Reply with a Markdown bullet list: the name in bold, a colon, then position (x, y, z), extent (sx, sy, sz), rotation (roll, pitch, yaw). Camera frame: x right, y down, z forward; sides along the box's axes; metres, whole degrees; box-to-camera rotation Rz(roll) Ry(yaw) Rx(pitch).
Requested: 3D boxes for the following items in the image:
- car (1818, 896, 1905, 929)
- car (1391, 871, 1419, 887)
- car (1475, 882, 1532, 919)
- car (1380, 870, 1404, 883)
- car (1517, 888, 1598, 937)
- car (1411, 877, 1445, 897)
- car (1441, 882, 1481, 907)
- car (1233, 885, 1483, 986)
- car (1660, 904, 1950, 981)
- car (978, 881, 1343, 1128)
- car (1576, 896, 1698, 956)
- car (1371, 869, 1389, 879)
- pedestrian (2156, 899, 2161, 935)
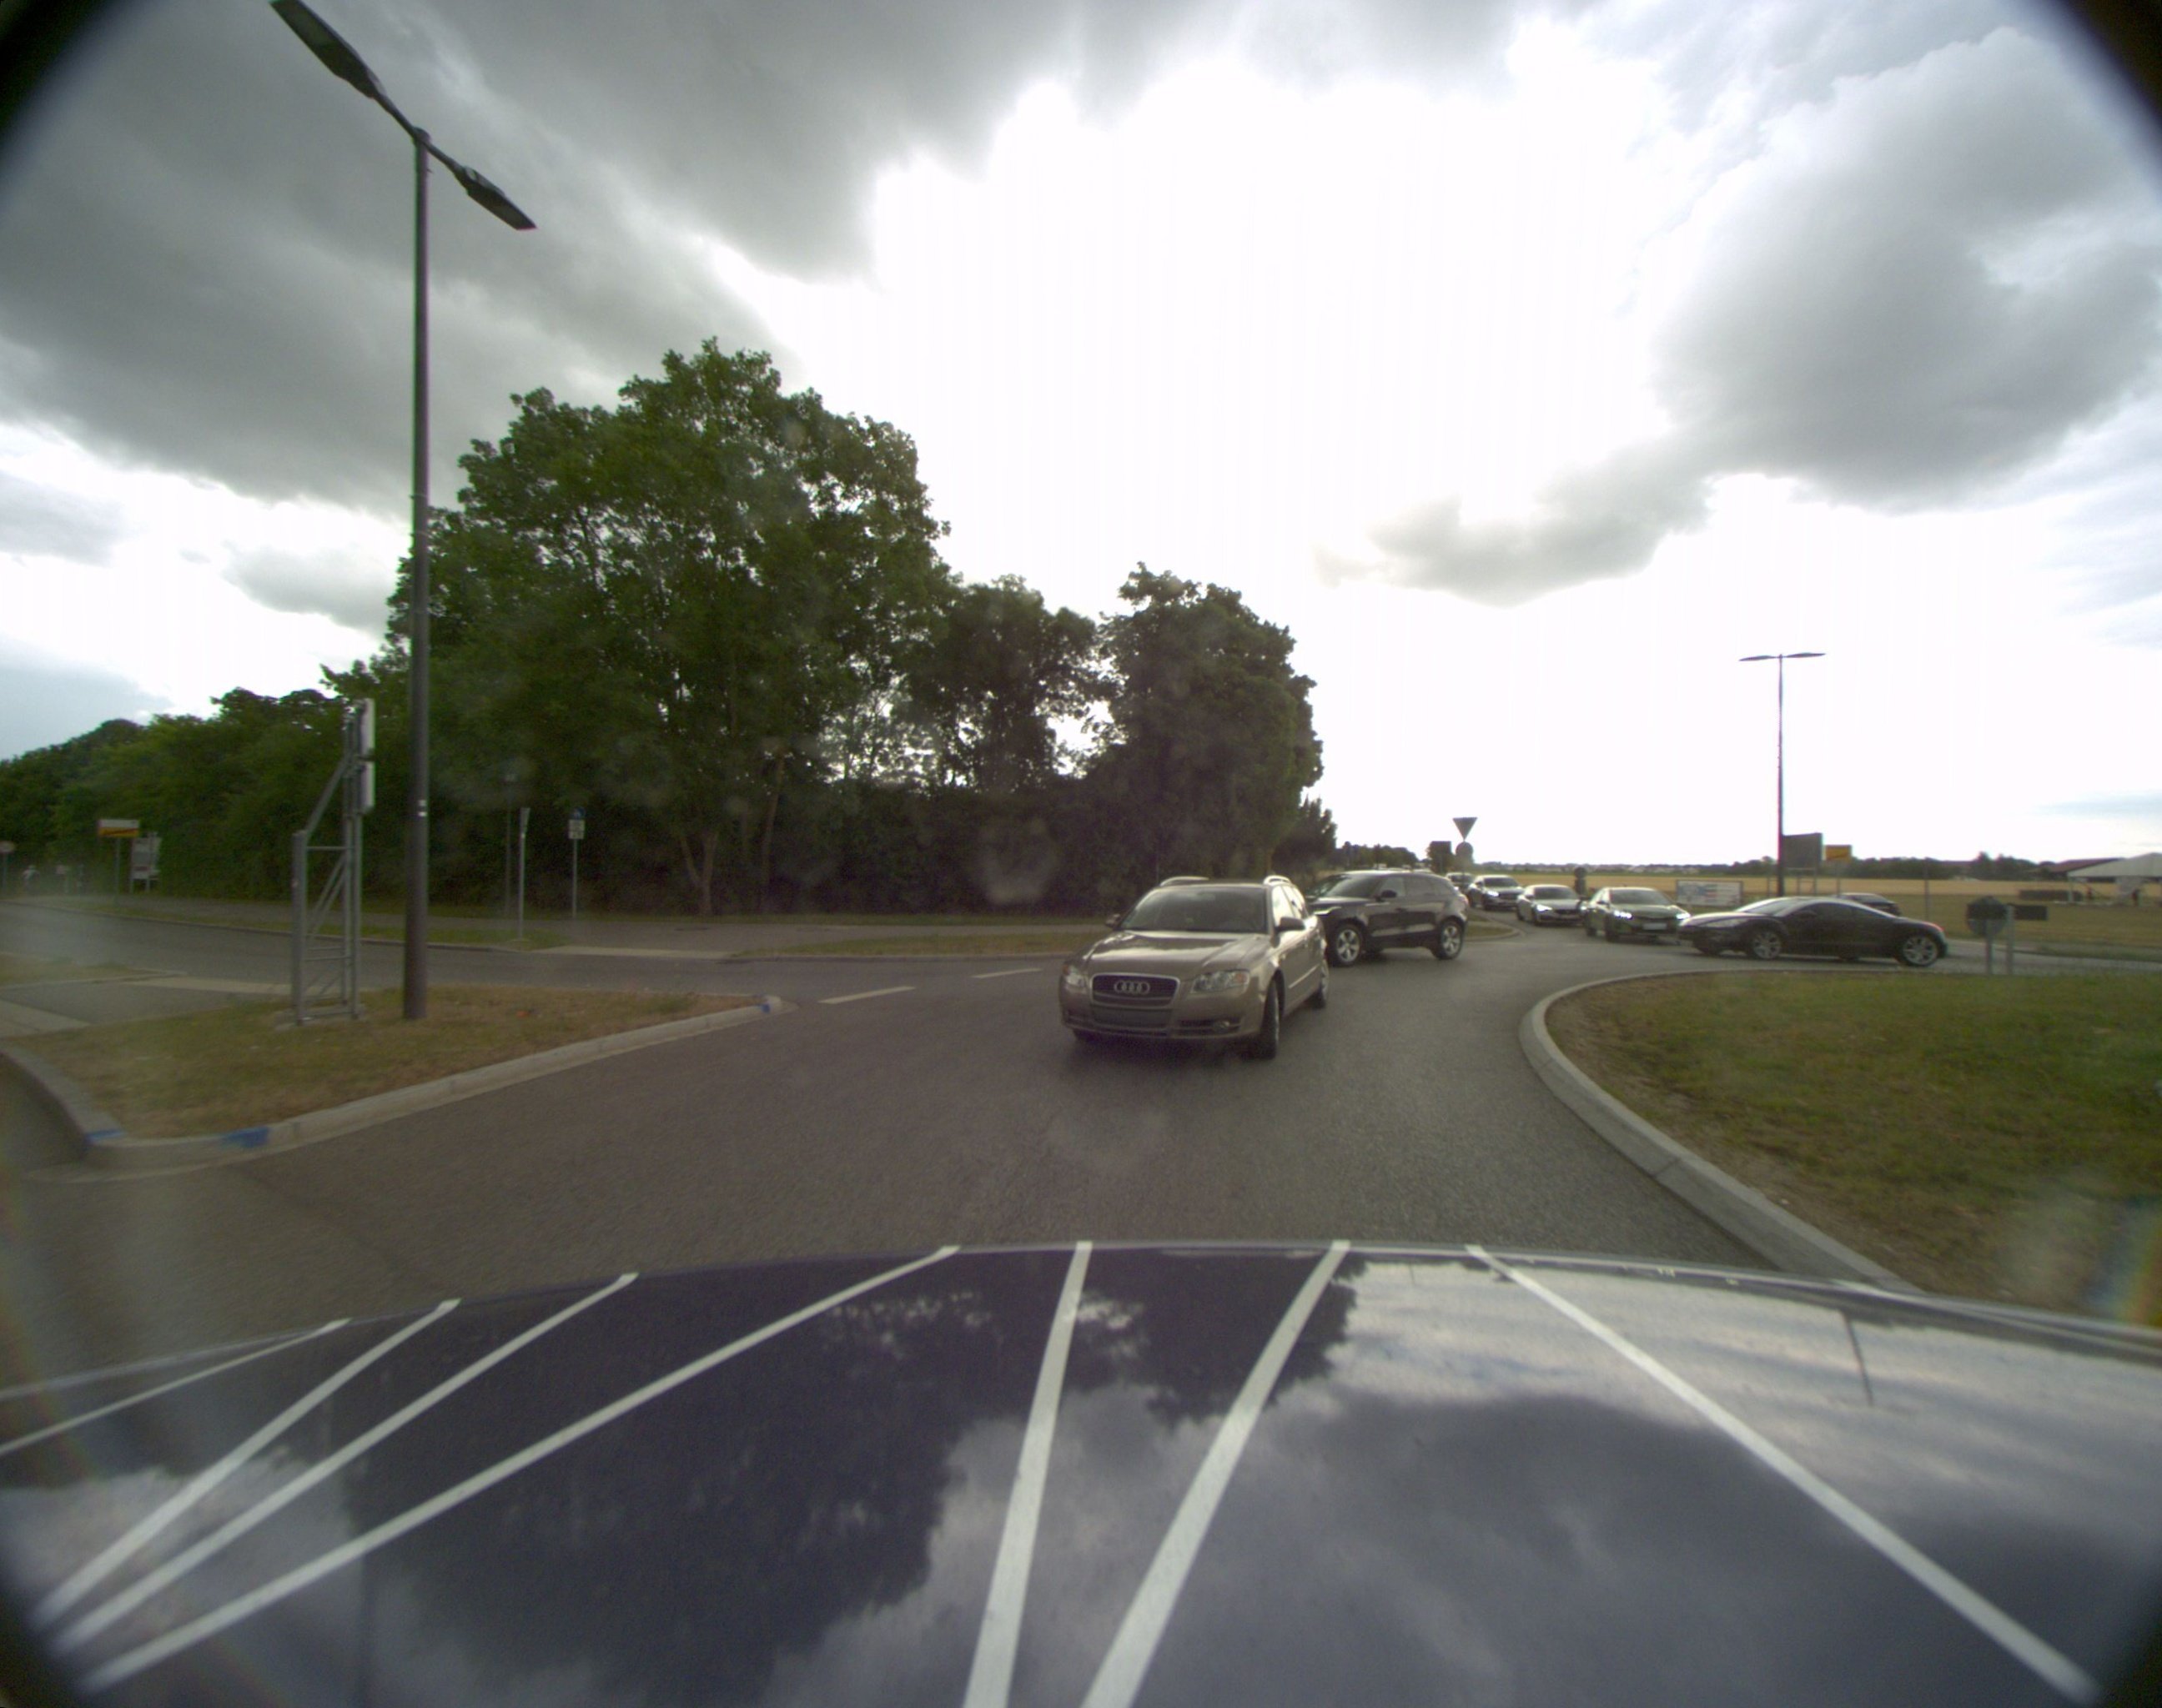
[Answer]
- **car**: position (38.545, 2.871, 37.647), extent (1.777, 1.310, 3.818), rotation (1, 0, 26)
- **car**: position (29.831, 2.300, 70.030), extent (1.778, 1.310, 3.815), rotation (0, 0, 15)
- **car**: position (19.876, 2.147, 35.907), extent (1.778, 1.489, 3.816), rotation (0, 0, 20)
- **car**: position (32.592, 2.326, 79.704), extent (1.778, 1.310, 3.815), rotation (0, 0, 15)
- **car**: position (17.365, 2.070, 27.875), extent (1.778, 1.489, 3.816), rotation (0, 0, 20)
- **car**: position (26.686, 2.518, 58.582), extent (1.778, 1.310, 3.815), rotation (0, 0, 15)
- **car**: position (23.217, 2.428, 46.491), extent (1.778, 1.310, 3.816), rotation (0, 0, 20)
- **car**: position (5.244, 1.393, 14.235), extent (4.595, 1.564, 1.995), rotation (1, -2, -32)
- **car**: position (15.075, 1.813, 16.077), extent (4.107, 1.299, 1.833), rotation (1, -1, 11)
- **car**: position (1.129, 1.062, 7.045), extent (1.778, 1.456, 4.552), rotation (0, -3, 27)
- **car**: position (15.609, 1.946, 21.585), extent (1.837, 1.448, 4.145), rotation (1, -2, 22)
- **car**: position (41.300, 2.774, 105.007), extent (1.778, 1.310, 3.815), rotation (0, 0, 15)
- **pedestrian**: position (57.736, 3.331, 40.016), extent (0.952, 1.889, 0.851), rotation (0, 0, 24)
